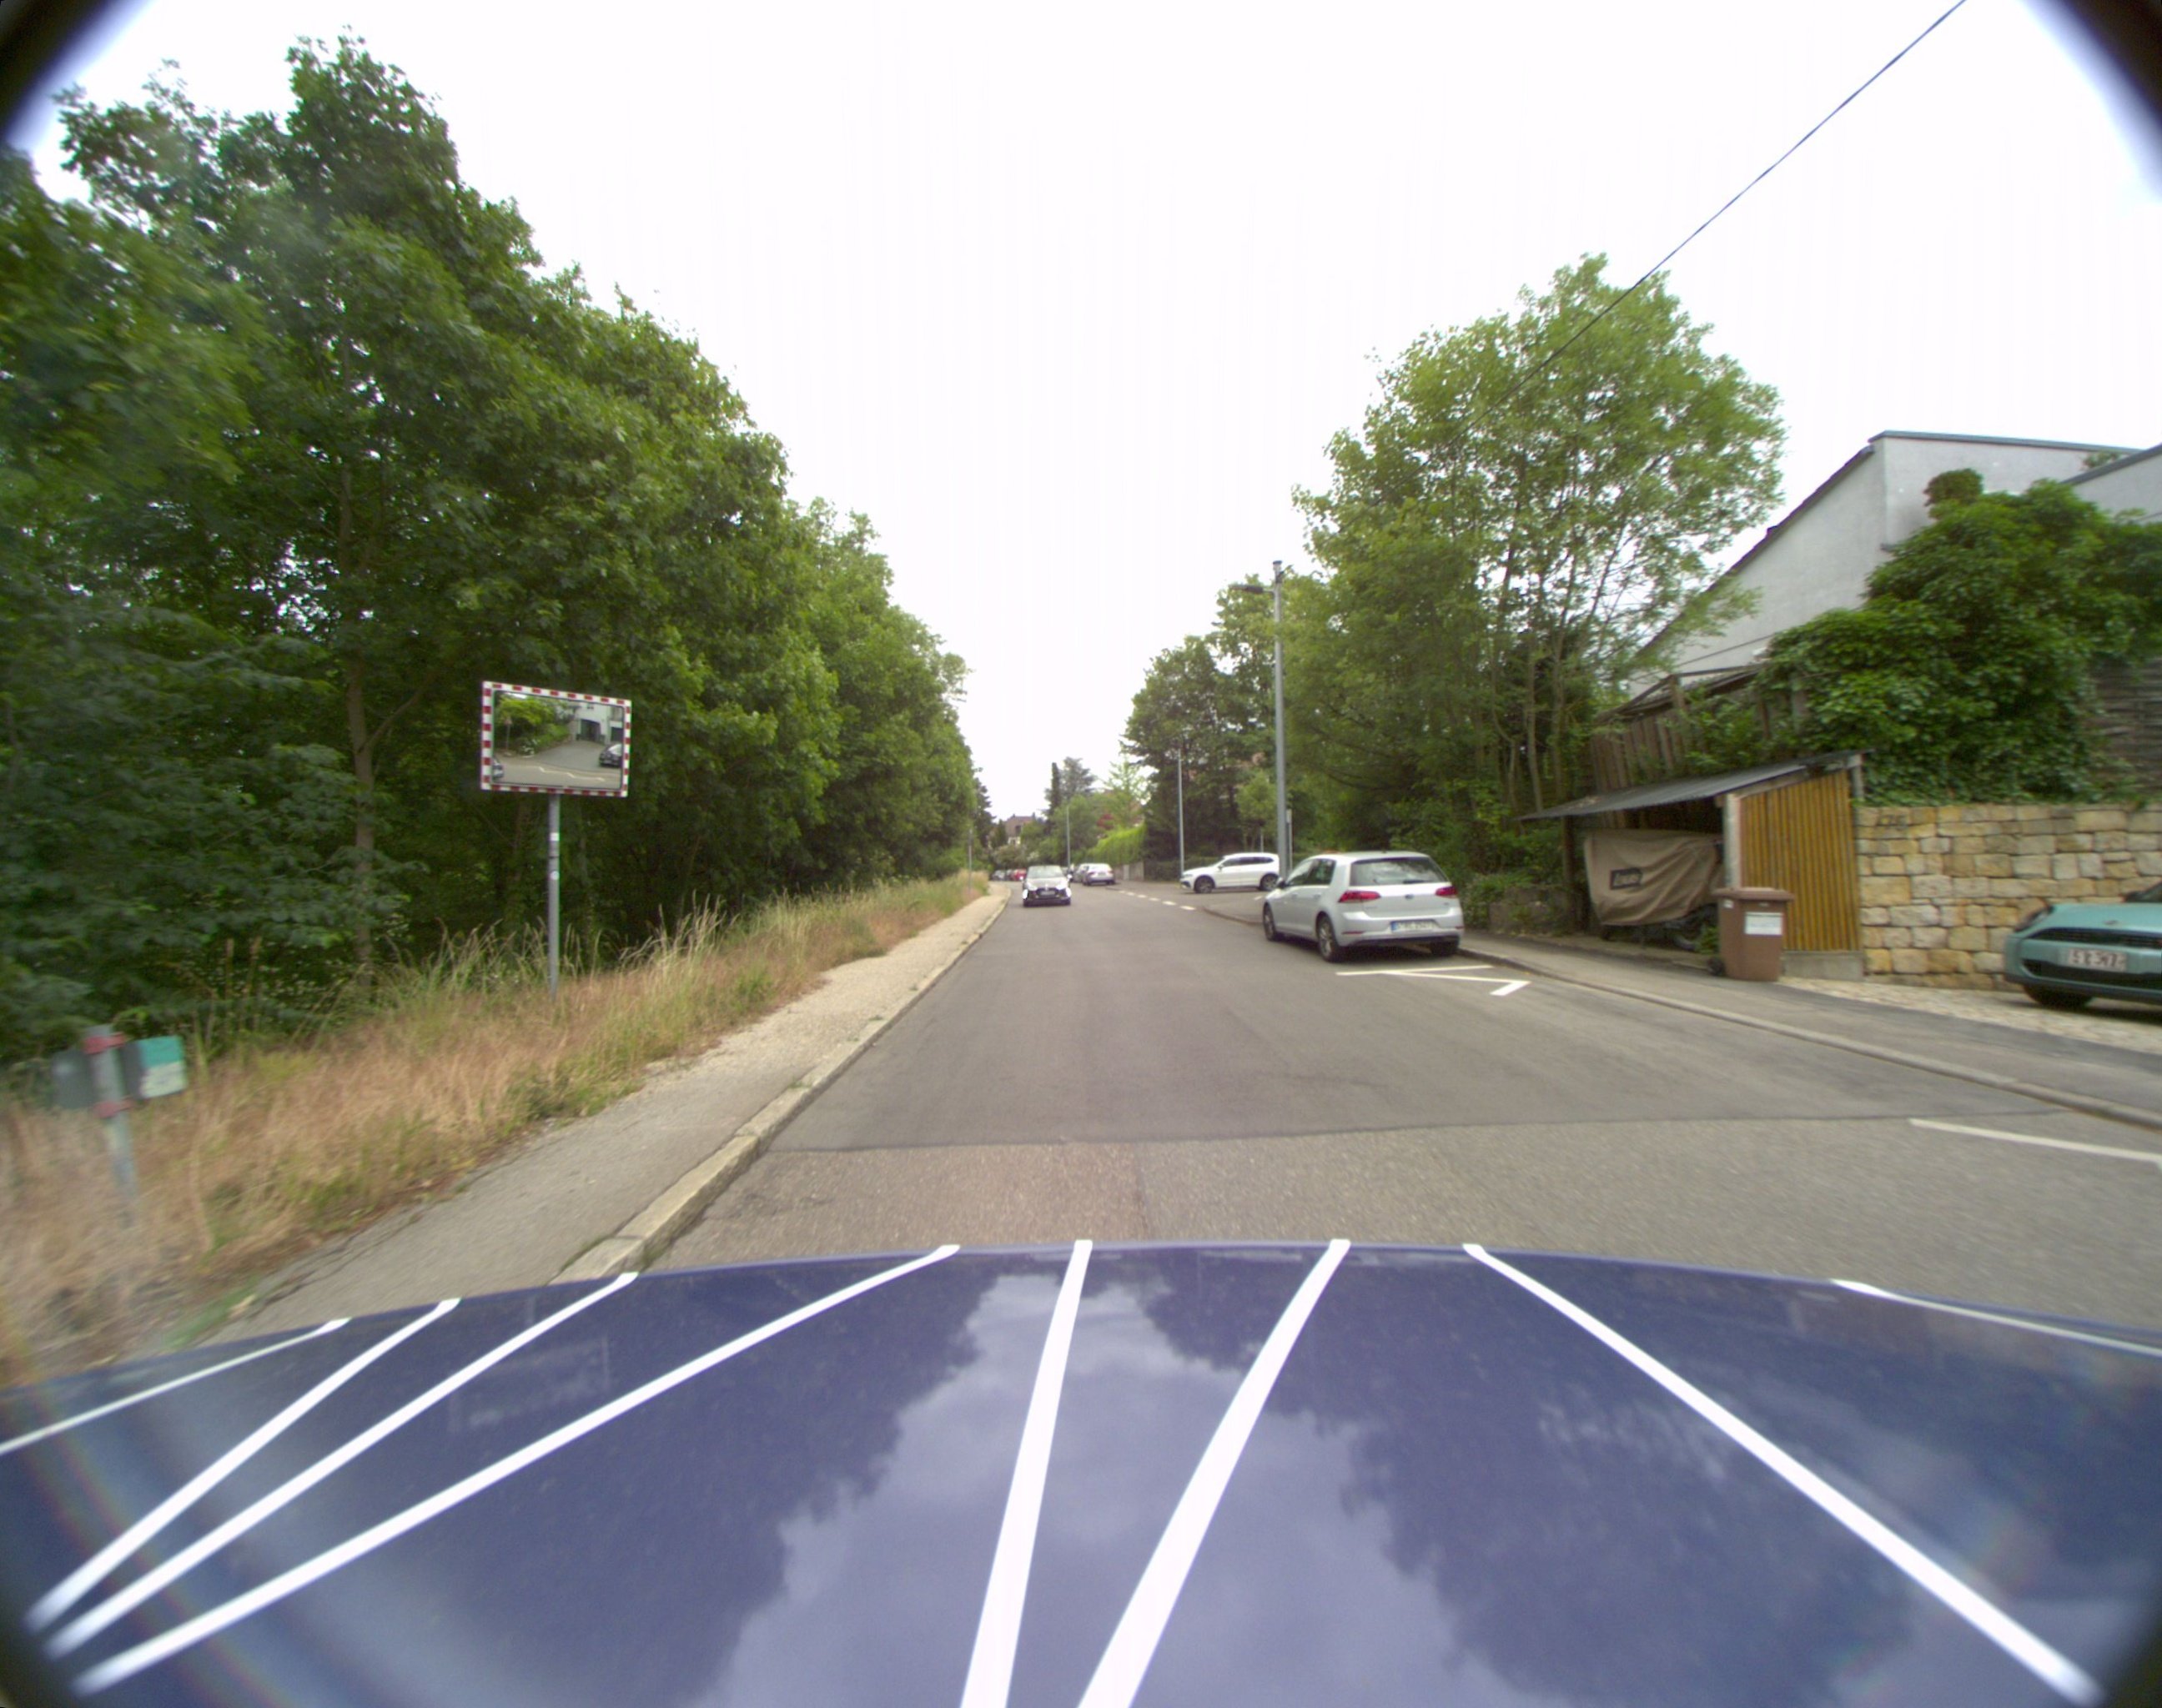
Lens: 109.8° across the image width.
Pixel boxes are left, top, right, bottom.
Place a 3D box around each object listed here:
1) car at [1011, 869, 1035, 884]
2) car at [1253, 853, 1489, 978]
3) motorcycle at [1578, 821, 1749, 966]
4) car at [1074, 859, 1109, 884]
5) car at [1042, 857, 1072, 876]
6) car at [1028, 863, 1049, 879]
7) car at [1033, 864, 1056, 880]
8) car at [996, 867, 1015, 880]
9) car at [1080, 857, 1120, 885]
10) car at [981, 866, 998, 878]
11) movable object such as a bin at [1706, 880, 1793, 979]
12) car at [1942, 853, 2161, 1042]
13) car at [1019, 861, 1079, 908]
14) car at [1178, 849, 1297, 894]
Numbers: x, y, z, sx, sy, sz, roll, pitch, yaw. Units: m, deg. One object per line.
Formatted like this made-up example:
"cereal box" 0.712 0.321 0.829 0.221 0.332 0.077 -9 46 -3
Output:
"car" -7.285 2.733 94.522 2.001 1.678 4.704 -3 0 -16
"car" 3.993 0.745 11.256 1.765 1.441 4.042 -2 0 -3
"motorcycle" 6.986 0.432 9.253 0.484 1.573 1.913 -3 0 -3
"car" 0.758 1.280 57.557 2.000 1.678 4.707 -3 0 -7
"car" -2.426 1.232 75.832 2.001 1.678 4.705 -3 0 -14
"car" -4.924 1.938 87.568 1.801 1.678 3.496 -3 0 -14
"car" -4.003 1.969 83.693 1.801 1.678 3.496 -3 0 -14
"car" -10.491 2.696 105.202 2.001 1.678 4.705 -3 0 -14
"car" 1.201 1.068 50.025 1.999 1.678 4.708 -3 0 -6
"car" -13.880 2.778 115.412 2.001 1.678 4.705 -3 0 -14
"movable object such as a bin" 6.617 0.734 7.539 0.367 0.919 0.556 1 1 5
"car" 9.853 0.765 6.037 3.964 1.378 1.823 2 -1 -1
"car" -1.114 1.089 28.301 1.788 1.491 4.015 -3 0 3
"car" 6.713 0.738 33.044 4.707 1.678 2.000 -2 0 0
